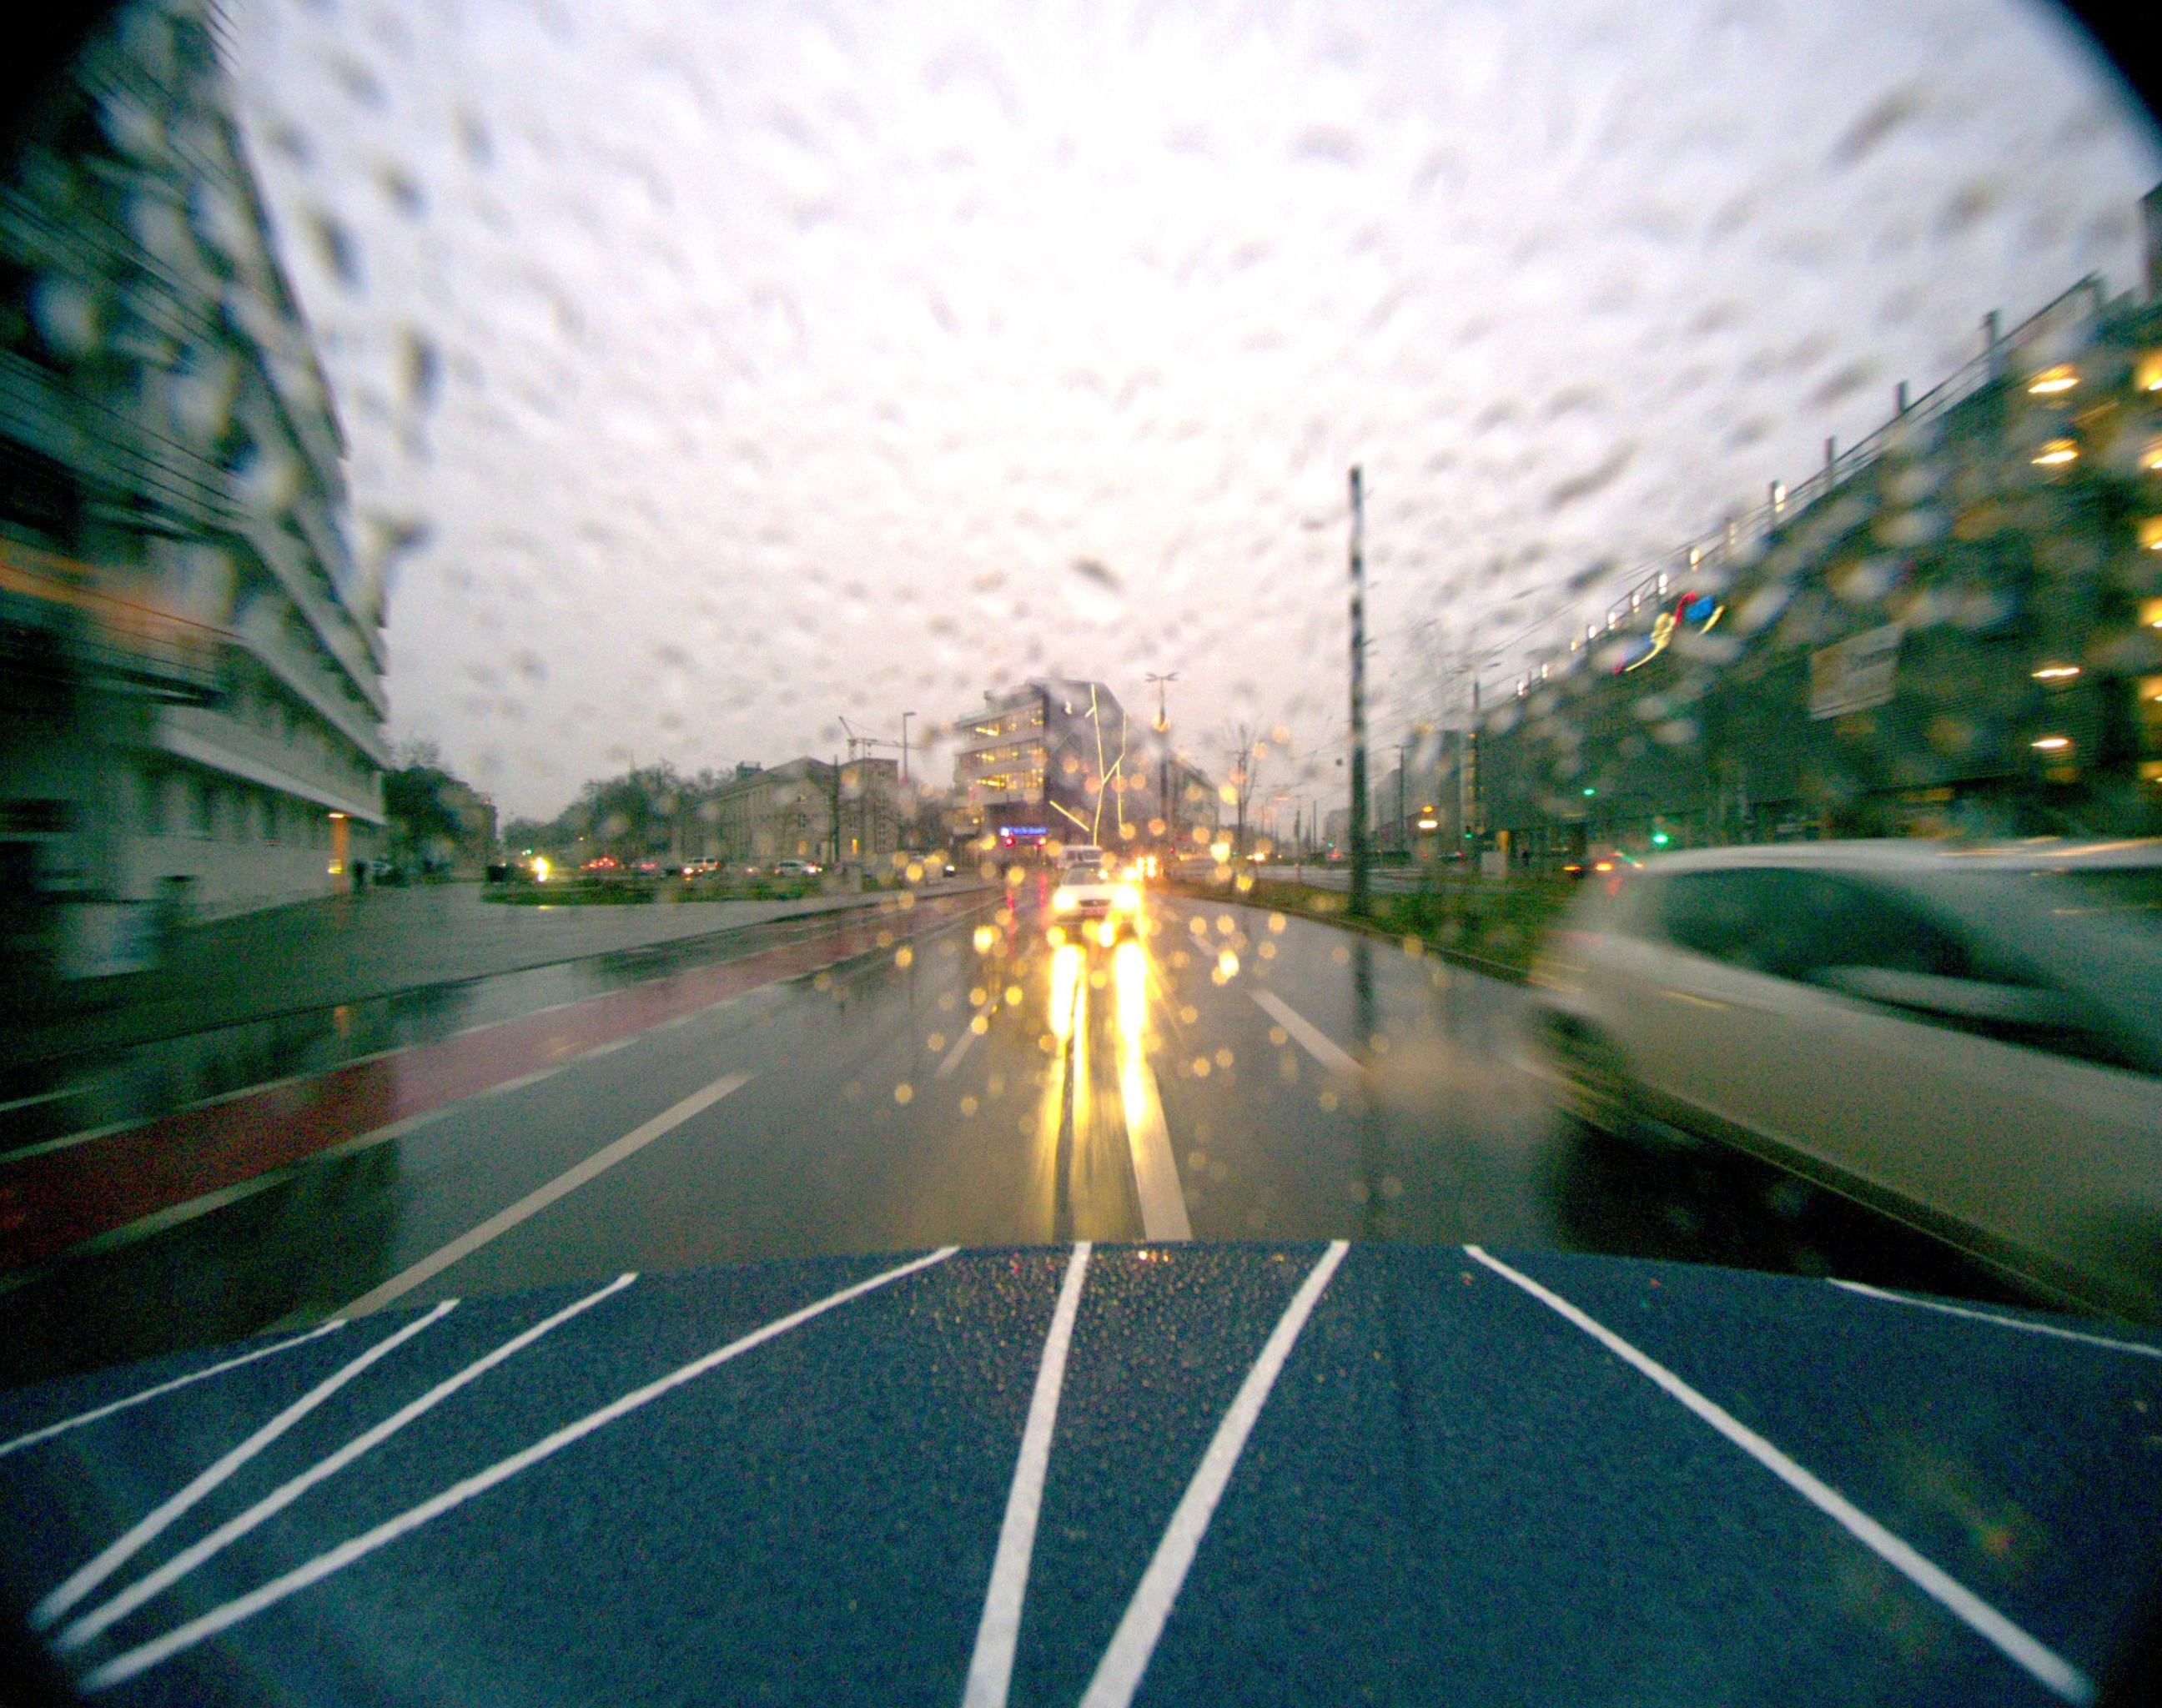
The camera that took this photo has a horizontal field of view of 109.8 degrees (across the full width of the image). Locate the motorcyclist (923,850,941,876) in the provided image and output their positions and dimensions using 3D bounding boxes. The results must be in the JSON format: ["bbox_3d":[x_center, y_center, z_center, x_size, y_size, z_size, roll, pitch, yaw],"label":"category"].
[{"bbox_3d":[-10.956,0.649,55.983,0.919,1.871,0.888,0,1,43],"label":"motorcyclist"}]

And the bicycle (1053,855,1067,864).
[{"bbox_3d":[-2.699,0.748,98.349,1.598,1.064,0.643,-1,0,17],"label":"bicycle"}]

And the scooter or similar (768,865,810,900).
[{"bbox_3d":[-10.855,1.041,28.316,0.669,1.220,1.558,0,2,13],"label":"scooter or similar"}]

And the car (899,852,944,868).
[{"bbox_3d":[-18.241,0.682,86.891,4.603,1.709,1.931,-1,1,8],"label":"car"}]

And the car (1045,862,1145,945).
[{"bbox_3d":[0.241,0.933,16.182,1.788,1.371,4.221,-2,1,-1],"label":"car"}]

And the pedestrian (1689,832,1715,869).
[{"bbox_3d":[41.643,-0.257,50.959,0.964,2.425,1.115,0,2,17],"label":"pedestrian"}]

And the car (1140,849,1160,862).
[{"bbox_3d":[9.194,0.180,101.026,1.830,1.652,4.005,-1,0,16],"label":"car"}]

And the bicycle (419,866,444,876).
[{"bbox_3d":[-62.434,1.628,73.041,1.799,0.926,0.444,1,-1,-40],"label":"bicycle"}]

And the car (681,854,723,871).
[{"bbox_3d":[-48.412,1.094,96.952,5.646,2.047,1.957,-1,0,30],"label":"car"}]

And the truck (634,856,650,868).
[{"bbox_3d":[-73.789,1.334,127.602,1.842,2.032,3.989,-1,0,-36],"label":"truck"}]

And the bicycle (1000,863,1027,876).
[{"bbox_3d":[-5.064,1.155,57.034,1.862,0.968,0.658,-1,1,23],"label":"bicycle"}]

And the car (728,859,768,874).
[{"bbox_3d":[-33.394,1.214,76.241,3.339,1.422,1.693,0,1,19],"label":"car"}]

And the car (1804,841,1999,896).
[{"bbox_3d":[22.446,0.333,21.014,1.509,1.365,3.652,-1,1,2],"label":"car"}]

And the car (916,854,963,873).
[{"bbox_3d":[-12.374,0.790,66.675,4.006,1.590,1.901,-1,0,-8],"label":"car"}]

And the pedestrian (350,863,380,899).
[{"bbox_3d":[-32.172,1.205,34.133,0.632,1.623,0.721,-1,1,-6],"label":"pedestrian"}]

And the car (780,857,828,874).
[{"bbox_3d":[-27.132,1.146,74.341,4.214,1.590,1.678,-1,1,16],"label":"car"}]

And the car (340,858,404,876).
[{"bbox_3d":[-72.160,1.291,77.398,1.777,1.757,4.352,-1,0,21],"label":"car"}]

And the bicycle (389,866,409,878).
[{"bbox_3d":[-58.170,1.503,64.813,0.537,1.012,1.905,1,-1,-19],"label":"bicycle"}]

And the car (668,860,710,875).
[{"bbox_3d":[-40.764,1.367,79.034,4.159,1.466,1.881,-1,1,31],"label":"car"}]

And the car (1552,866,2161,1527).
[{"bbox_3d":[3.342,0.812,2.280,1.642,1.487,3.686,-1,0,2],"label":"car"}]

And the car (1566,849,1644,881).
[{"bbox_3d":[25.166,0.479,36.624,1.817,1.434,3.960,-1,0,14],"label":"car"}]

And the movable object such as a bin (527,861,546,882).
[{"bbox_3d":[-40.401,1.274,56.414,1.055,1.501,1.249,-1,1,-33],"label":"movable object such as a bin"}]

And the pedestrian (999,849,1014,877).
[{"bbox_3d":[-5.091,0.614,51.785,0.777,1.867,0.633,-1,1,-40],"label":"pedestrian"}]

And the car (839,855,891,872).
[{"bbox_3d":[-20.590,0.876,72.473,4.353,1.561,1.829,-1,0,16],"label":"car"}]

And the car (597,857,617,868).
[{"bbox_3d":[-83.582,1.475,133.966,4.948,1.861,1.908,1,4,45],"label":"car"}]

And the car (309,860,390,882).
[{"bbox_3d":[-56.993,1.325,59.270,1.738,1.560,4.163,-1,0,21],"label":"car"}]

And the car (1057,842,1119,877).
[{"bbox_3d":[0.442,0.330,56.557,2.246,2.449,5.656,-1,1,-27],"label":"car"}]

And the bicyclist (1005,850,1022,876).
[{"bbox_3d":[-5.093,0.677,57.123,0.987,1.879,0.794,0,1,23],"label":"bicyclist"}]

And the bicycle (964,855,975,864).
[{"bbox_3d":[-15.234,0.738,103.810,1.500,1.121,0.527,-1,1,-36],"label":"bicycle"}]

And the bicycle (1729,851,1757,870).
[{"bbox_3d":[43.108,0.402,49.496,0.476,1.115,2.093,0,2,16],"label":"bicycle"}]

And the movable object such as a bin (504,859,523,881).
[{"bbox_3d":[-41.537,1.140,55.618,1.055,1.566,1.137,-1,1,-33],"label":"movable object such as a bin"}]

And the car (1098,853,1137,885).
[{"bbox_3d":[1.726,0.686,36.538,1.723,1.380,3.821,-1,1,1],"label":"car"}]
